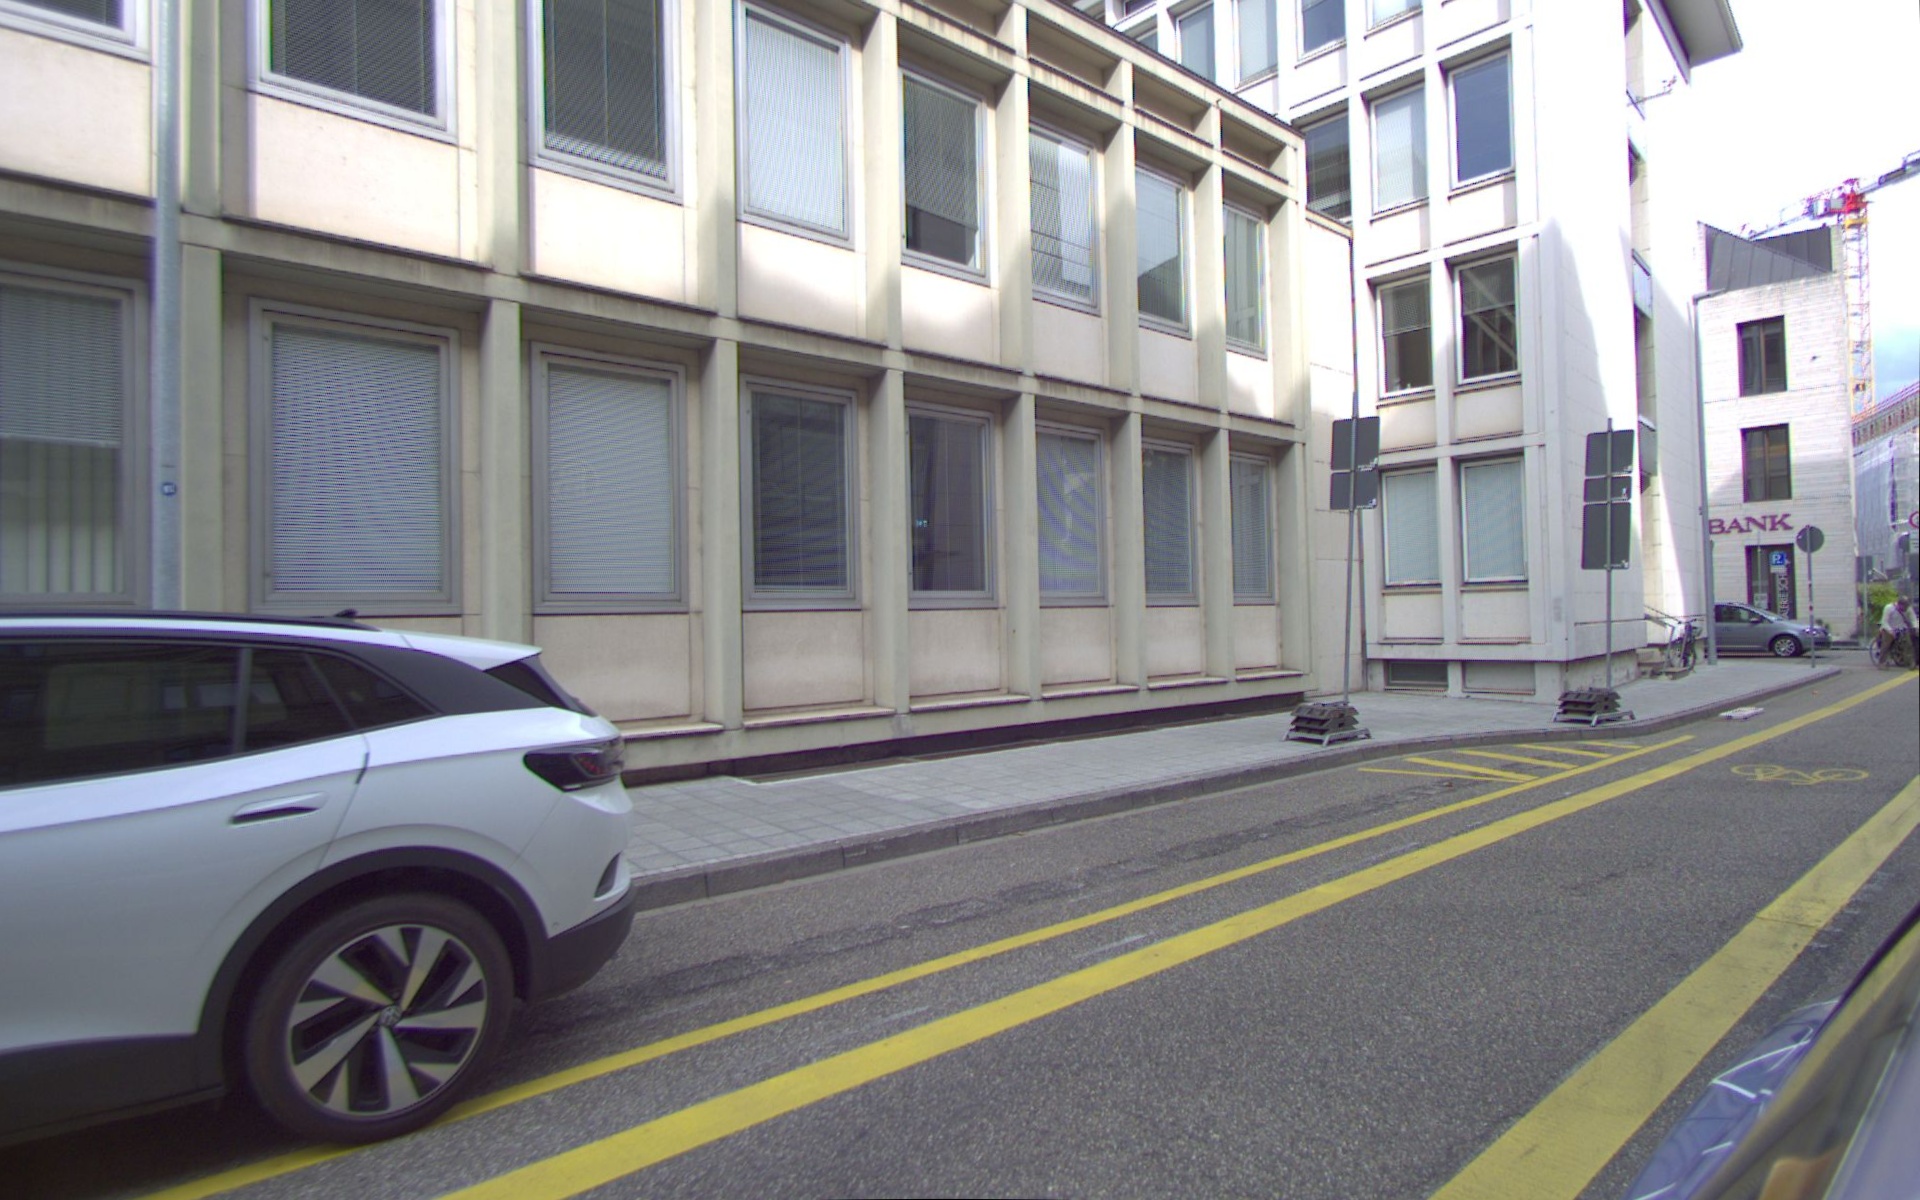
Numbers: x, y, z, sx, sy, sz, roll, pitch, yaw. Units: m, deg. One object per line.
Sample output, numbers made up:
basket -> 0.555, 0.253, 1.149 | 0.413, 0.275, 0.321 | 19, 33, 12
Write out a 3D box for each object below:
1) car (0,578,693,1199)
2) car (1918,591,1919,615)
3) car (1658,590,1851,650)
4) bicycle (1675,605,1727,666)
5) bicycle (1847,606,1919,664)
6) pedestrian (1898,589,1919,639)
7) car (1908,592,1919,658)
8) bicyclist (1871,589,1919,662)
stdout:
car -> -3.293, 0.832, 3.000 | 4.429, 1.626, 1.864 | -1, -4, -38
car -> 60.556, 0.171, 62.420 | 1.580, 1.505, 3.948 | -2, 0, 36
car -> 23.180, 0.592, 29.638 | 1.785, 1.611, 4.185 | -1, -1, -43
bicycle -> 15.258, 0.708, 20.820 | 0.588, 1.182, 1.786 | -2, -1, 44
bicycle -> 21.447, 0.763, 23.010 | 0.860, 1.210, 2.847 | -1, 0, 18
pedestrian -> 35.838, 0.526, 38.012 | 0.858, 1.854, 0.762 | -2, -1, 43
car -> 22.612, 0.537, 21.542 | 1.690, 1.510, 3.753 | -2, -1, 10
bicyclist -> 21.386, 0.572, 22.843 | 0.881, 1.614, 0.872 | -1, -1, 19
